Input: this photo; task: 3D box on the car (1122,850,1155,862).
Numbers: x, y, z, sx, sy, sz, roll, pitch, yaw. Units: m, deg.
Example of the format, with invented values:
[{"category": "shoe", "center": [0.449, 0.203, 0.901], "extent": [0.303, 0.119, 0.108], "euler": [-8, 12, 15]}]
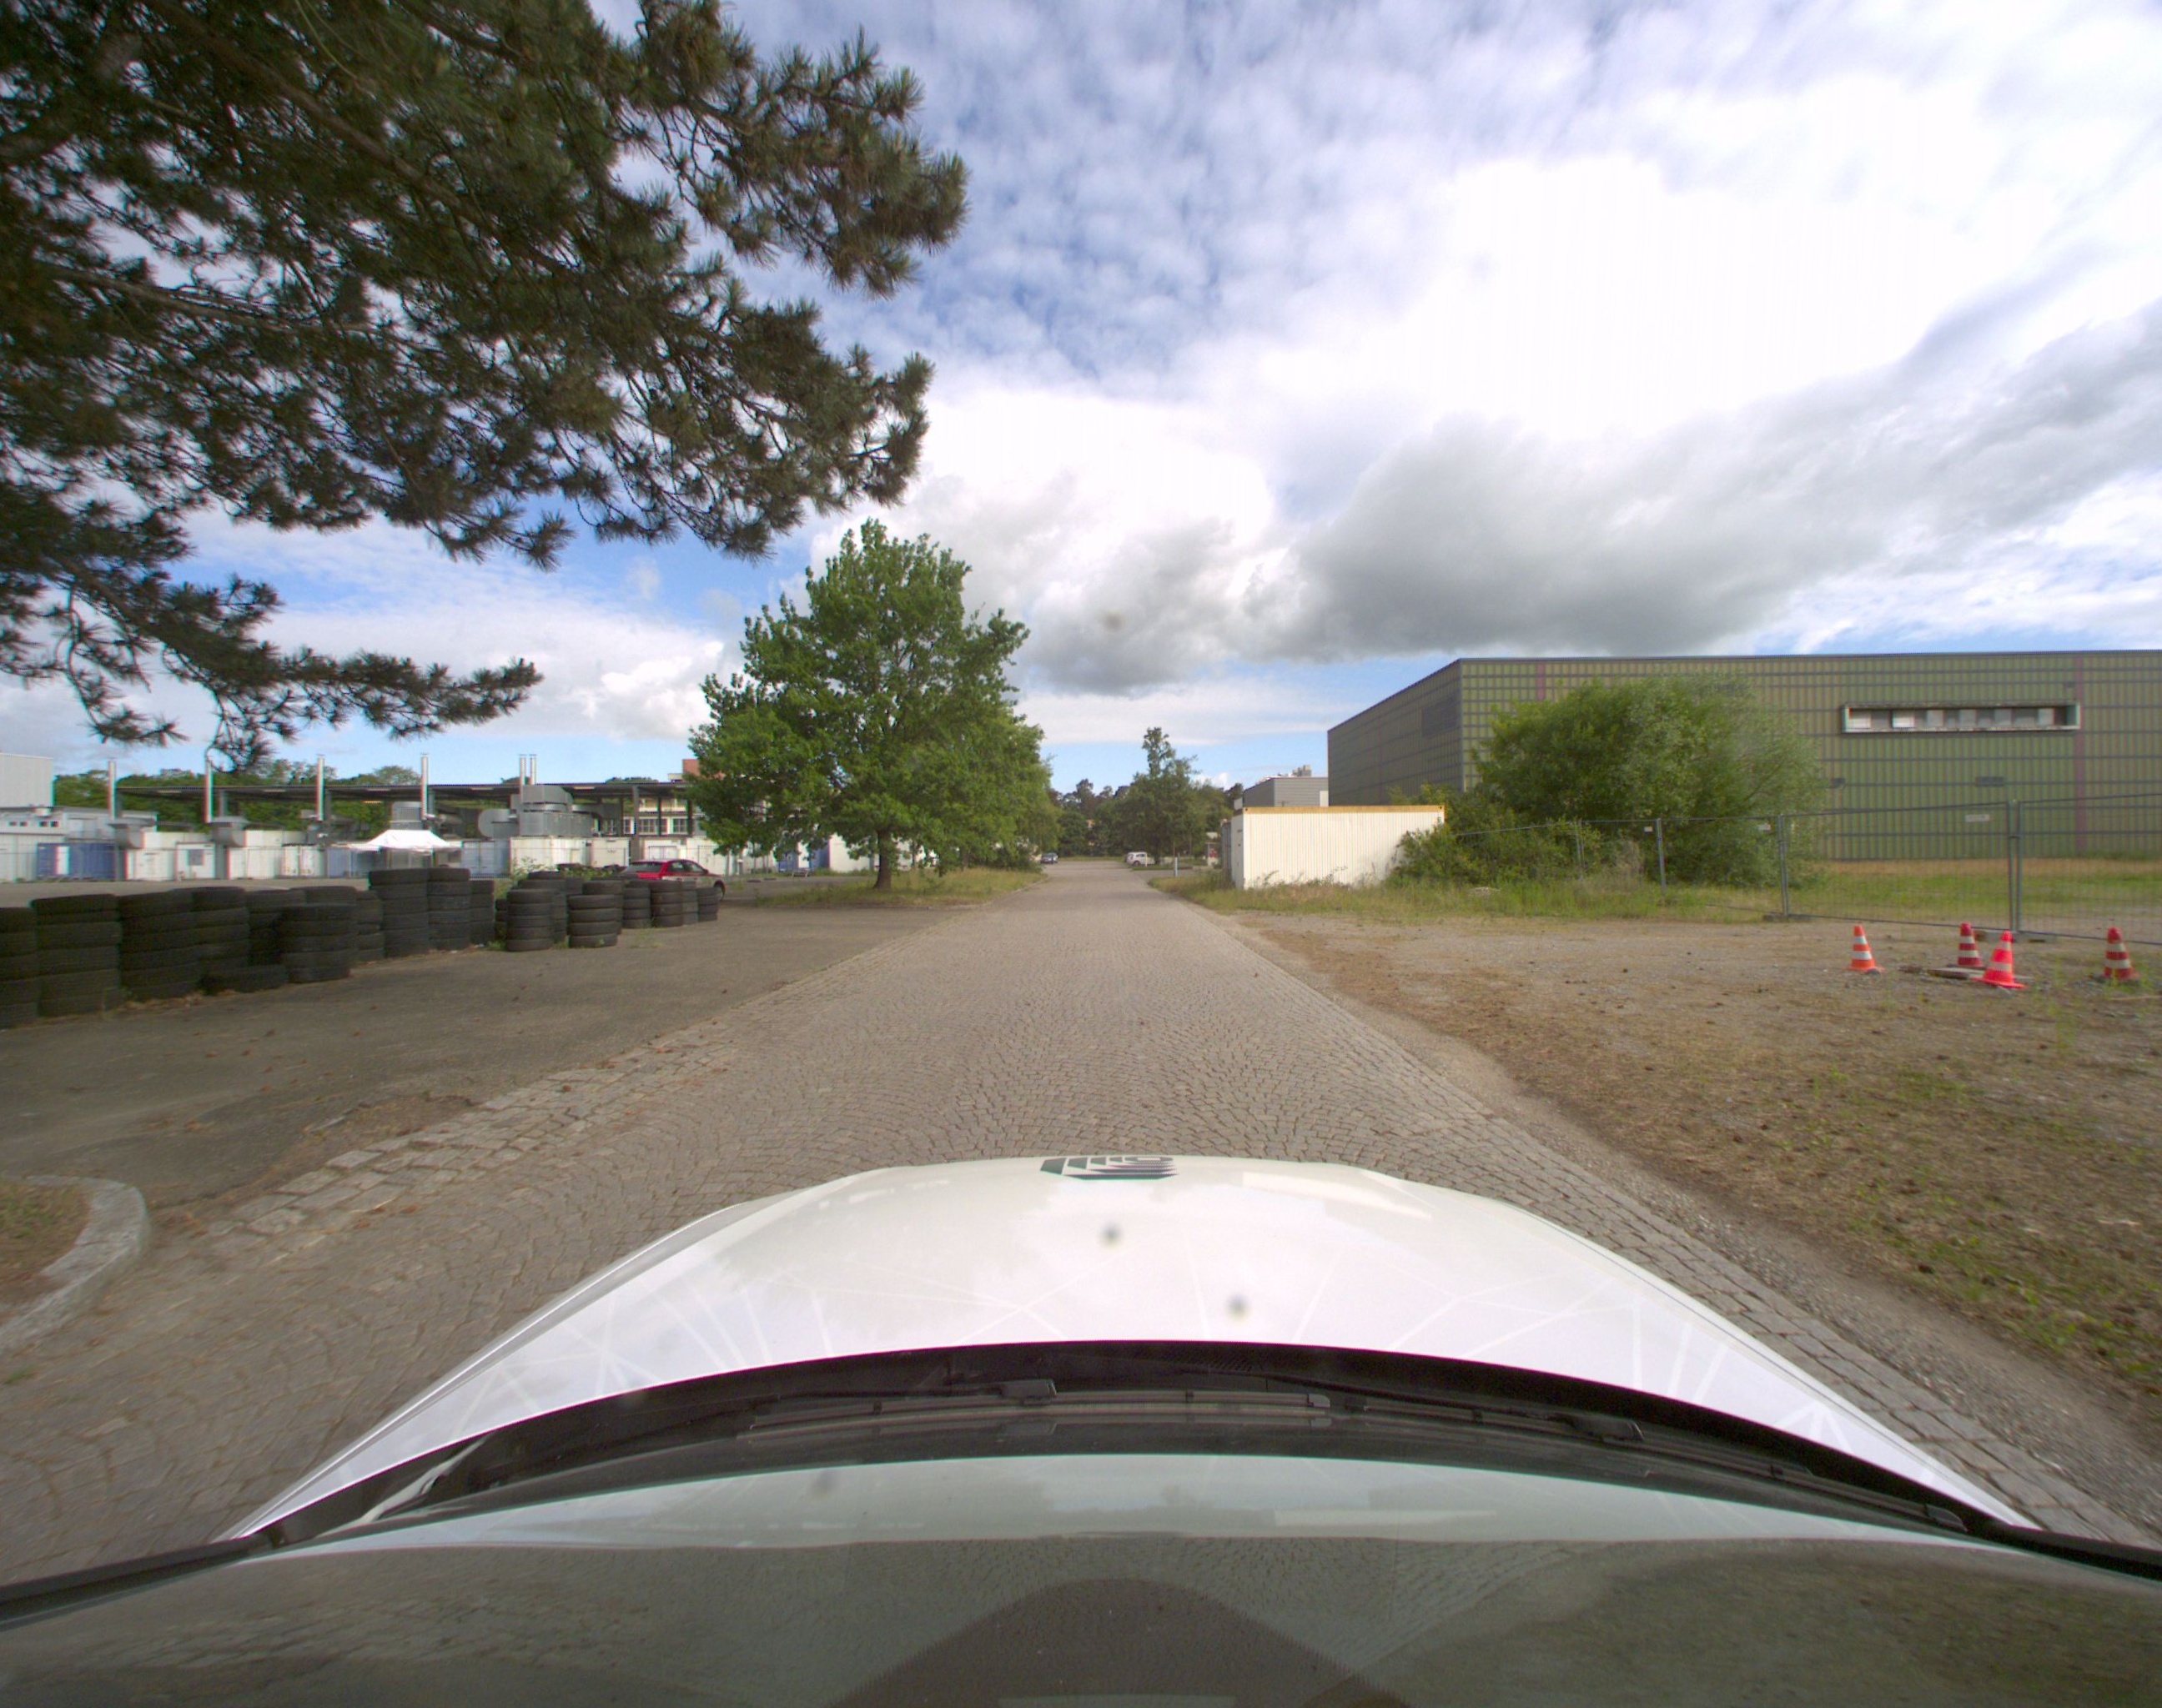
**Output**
[{"category": "car", "center": [7.168, 0.274, 101.417], "extent": [3.972, 1.455, 1.770], "euler": [-1, 0, 1]}]

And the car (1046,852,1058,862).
[{"category": "car", "center": [-4.459, 0.444, 125.647], "extent": [1.744, 1.454, 3.998], "euler": [-1, 0, -1]}]

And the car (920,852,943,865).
[{"category": "car", "center": [-18.811, 0.530, 102.705], "extent": [1.893, 1.575, 4.003], "euler": [-1, 0, 3]}]

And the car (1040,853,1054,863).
[{"category": "car", "center": [-4.809, 0.502, 115.416], "extent": [1.744, 1.364, 3.998], "euler": [-1, 0, -1]}]

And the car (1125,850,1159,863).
[{"category": "car", "center": [7.234, 0.257, 96.512], "extent": [3.972, 1.455, 1.770], "euler": [-1, 0, 1]}]

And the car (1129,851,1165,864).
[{"category": "car", "center": [7.354, 0.367, 91.299], "extent": [3.972, 1.455, 2.000], "euler": [0, -1, 1]}]

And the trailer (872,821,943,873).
[{"category": "trailer", "center": [-13.473, -0.547, 64.341], "extent": [2.645, 3.705, 10.732], "euler": [-1, 0, 4]}]

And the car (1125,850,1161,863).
[{"category": "car", "center": [7.109, 0.313, 93.472], "extent": [3.972, 1.455, 1.698], "euler": [-1, 0, 1]}]

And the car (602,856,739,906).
[{"category": "car", "center": [-12.902, 0.792, 25.934], "extent": [1.814, 1.431, 4.227], "euler": [-1, 0, 7]}]
